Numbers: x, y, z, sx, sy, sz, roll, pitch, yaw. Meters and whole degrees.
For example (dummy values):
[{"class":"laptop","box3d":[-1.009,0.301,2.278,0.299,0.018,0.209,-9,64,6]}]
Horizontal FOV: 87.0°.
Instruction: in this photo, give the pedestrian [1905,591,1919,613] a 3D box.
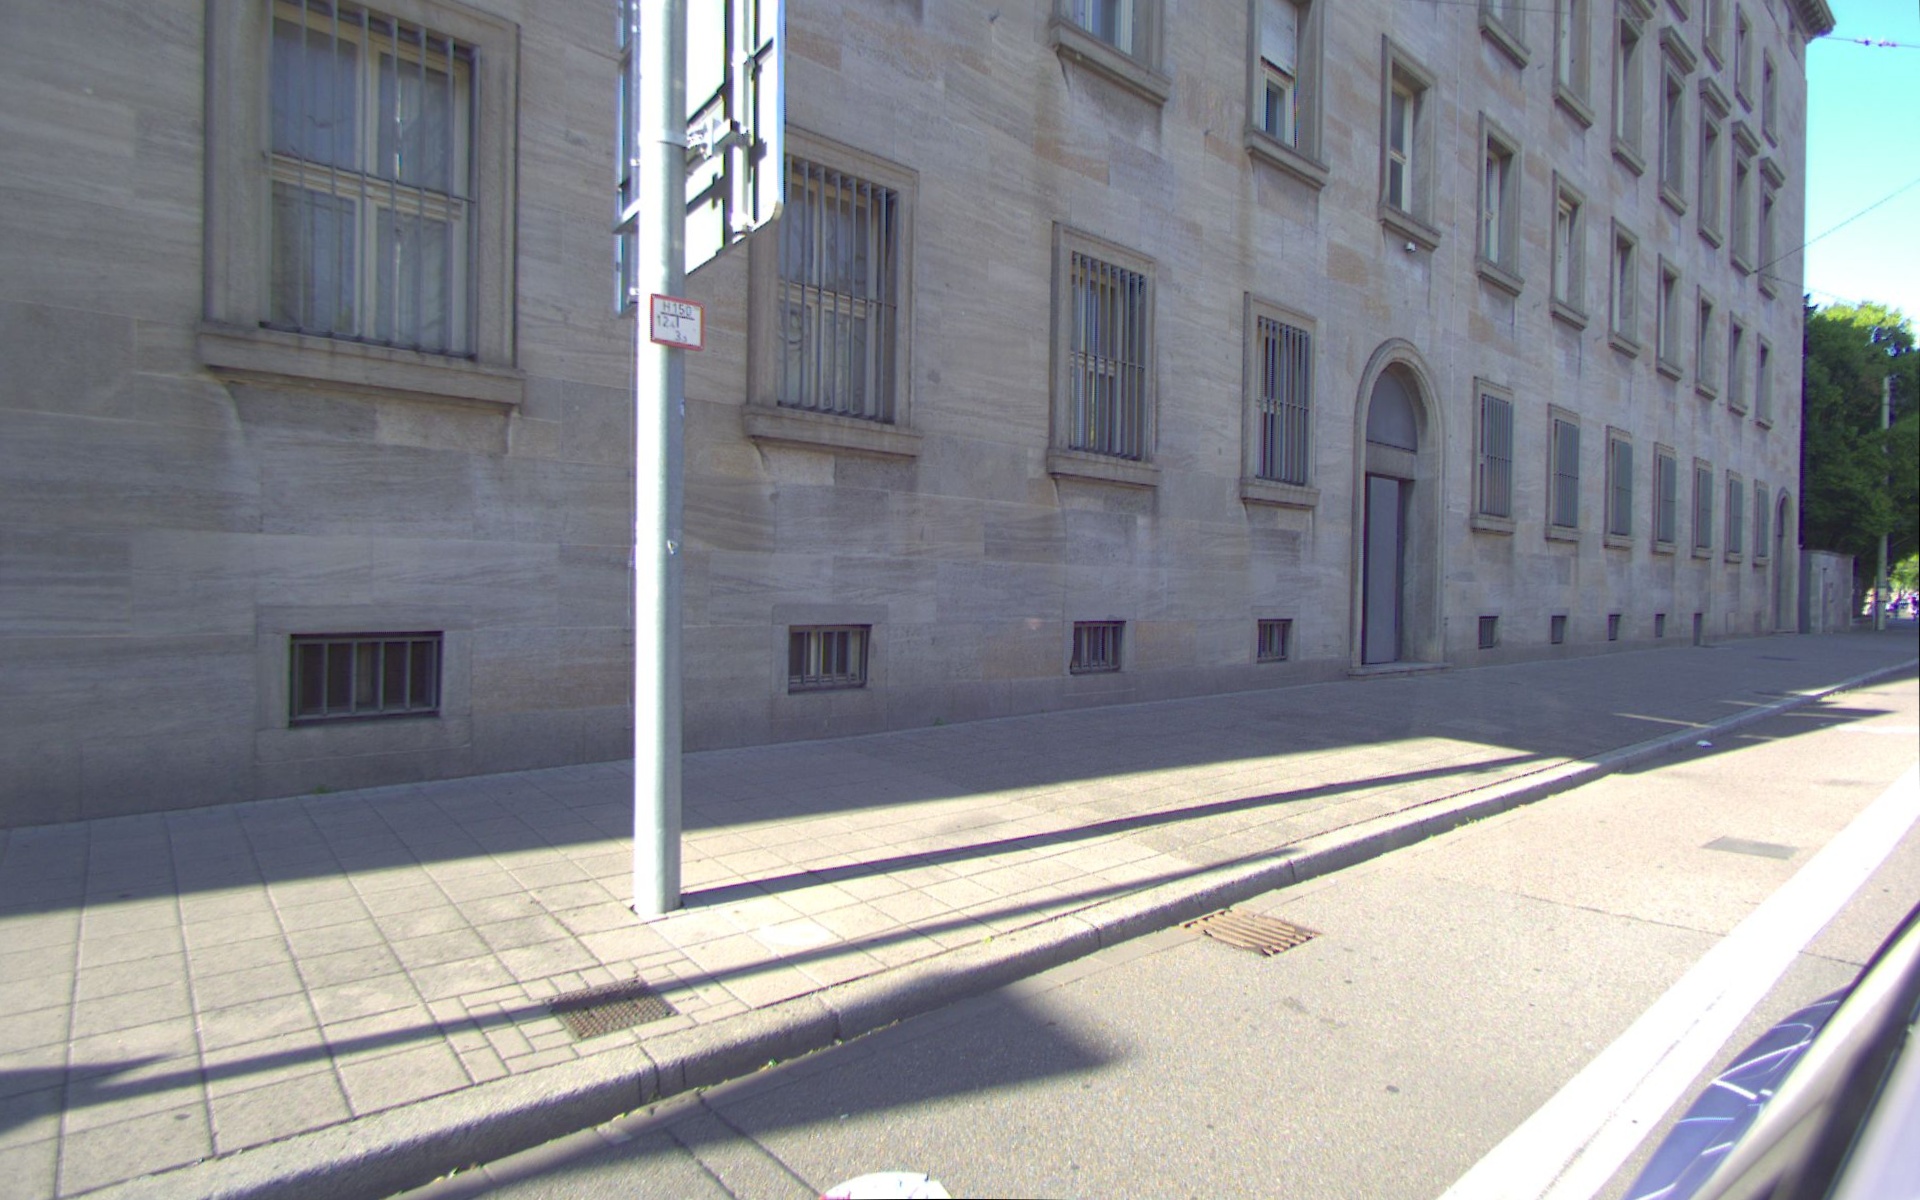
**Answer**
[{"class":"pedestrian","box3d":[77.347,0.160,82.225,0.828,1.742,0.792,1,1,43]}]
